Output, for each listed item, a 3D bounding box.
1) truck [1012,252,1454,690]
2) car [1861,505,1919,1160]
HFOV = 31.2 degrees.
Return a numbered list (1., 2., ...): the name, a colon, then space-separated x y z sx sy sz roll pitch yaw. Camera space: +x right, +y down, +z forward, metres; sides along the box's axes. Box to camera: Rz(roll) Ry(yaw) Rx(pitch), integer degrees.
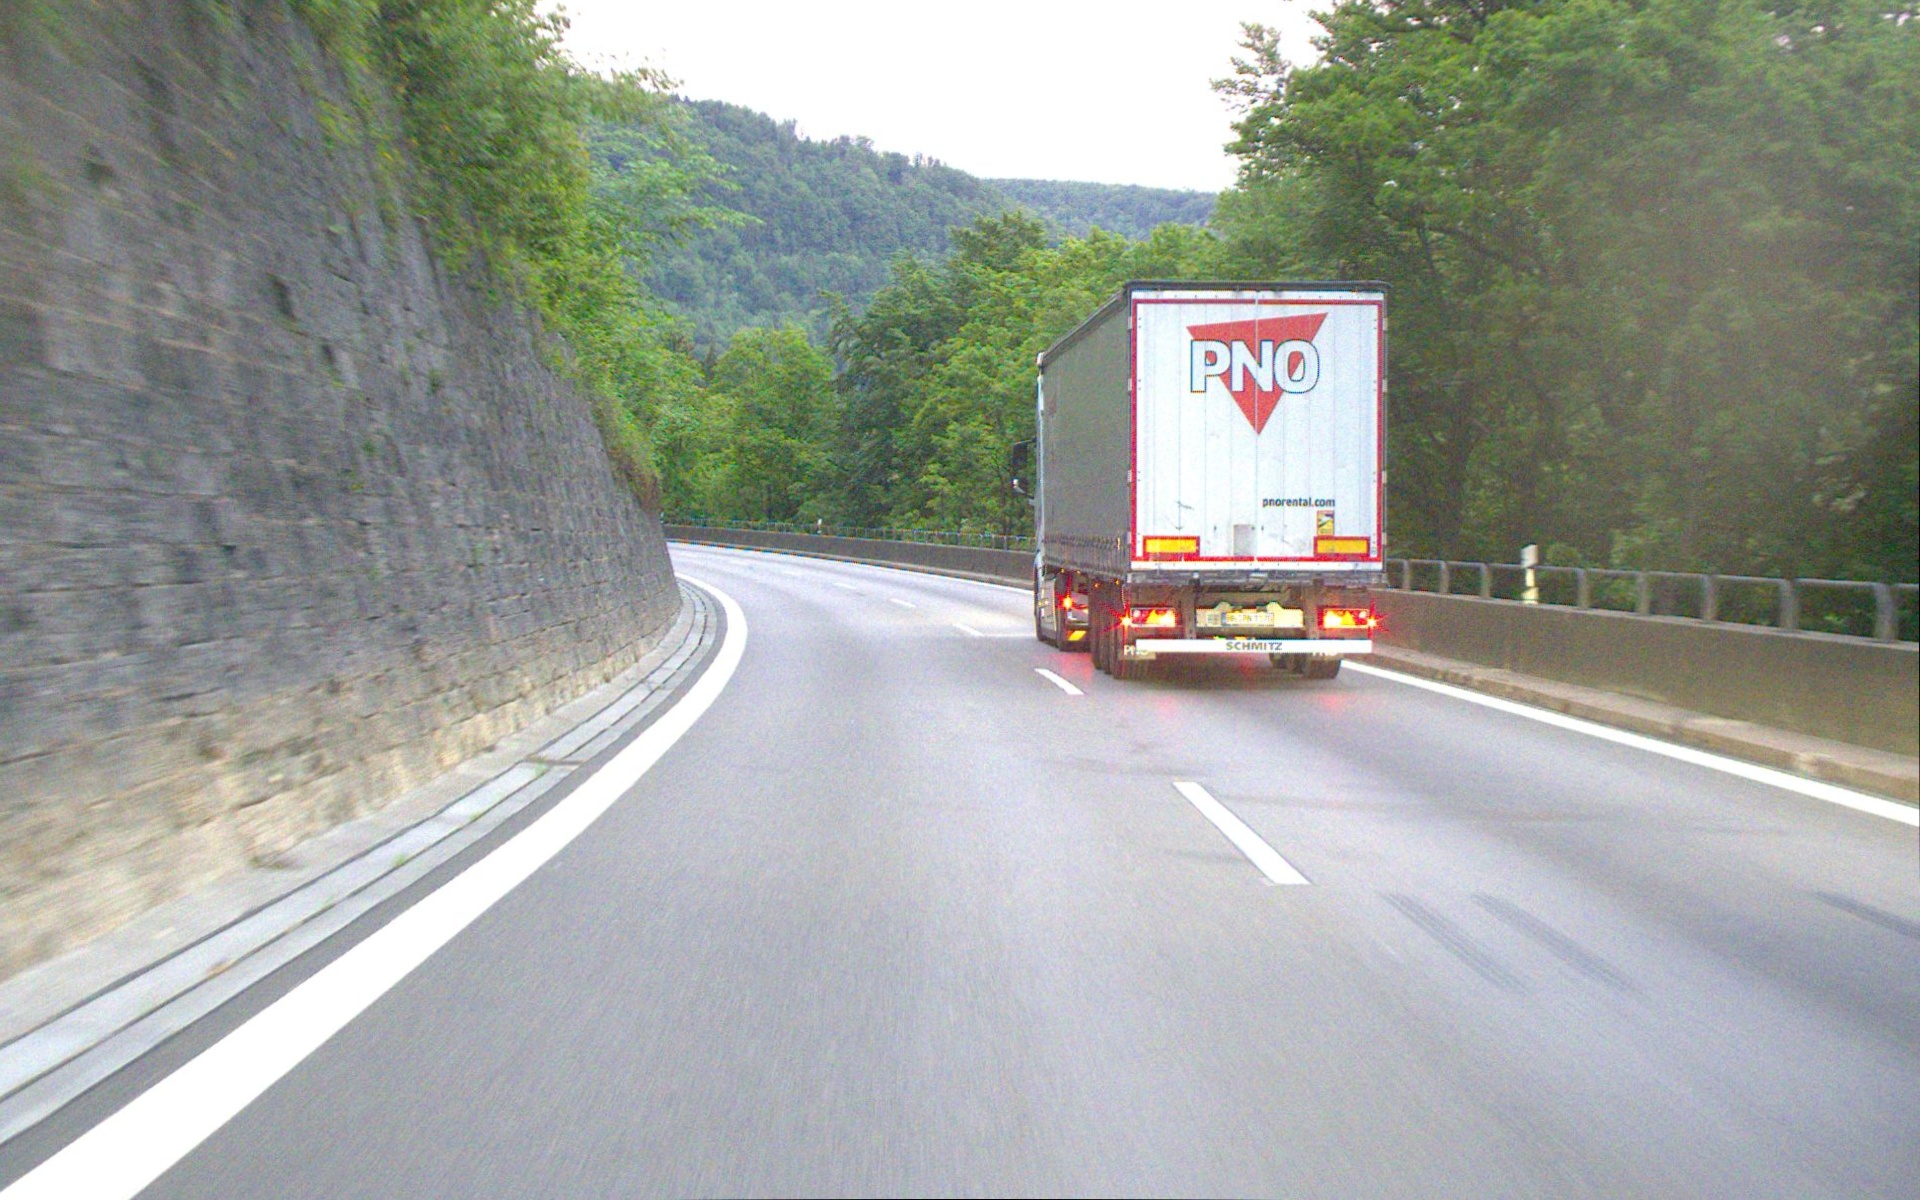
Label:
1. truck: 2.759 -1.385 41.418 3.294 4.158 16.505 1 1 -2
2. car: 3.376 0.621 6.540 1.993 1.609 4.865 1 1 0
